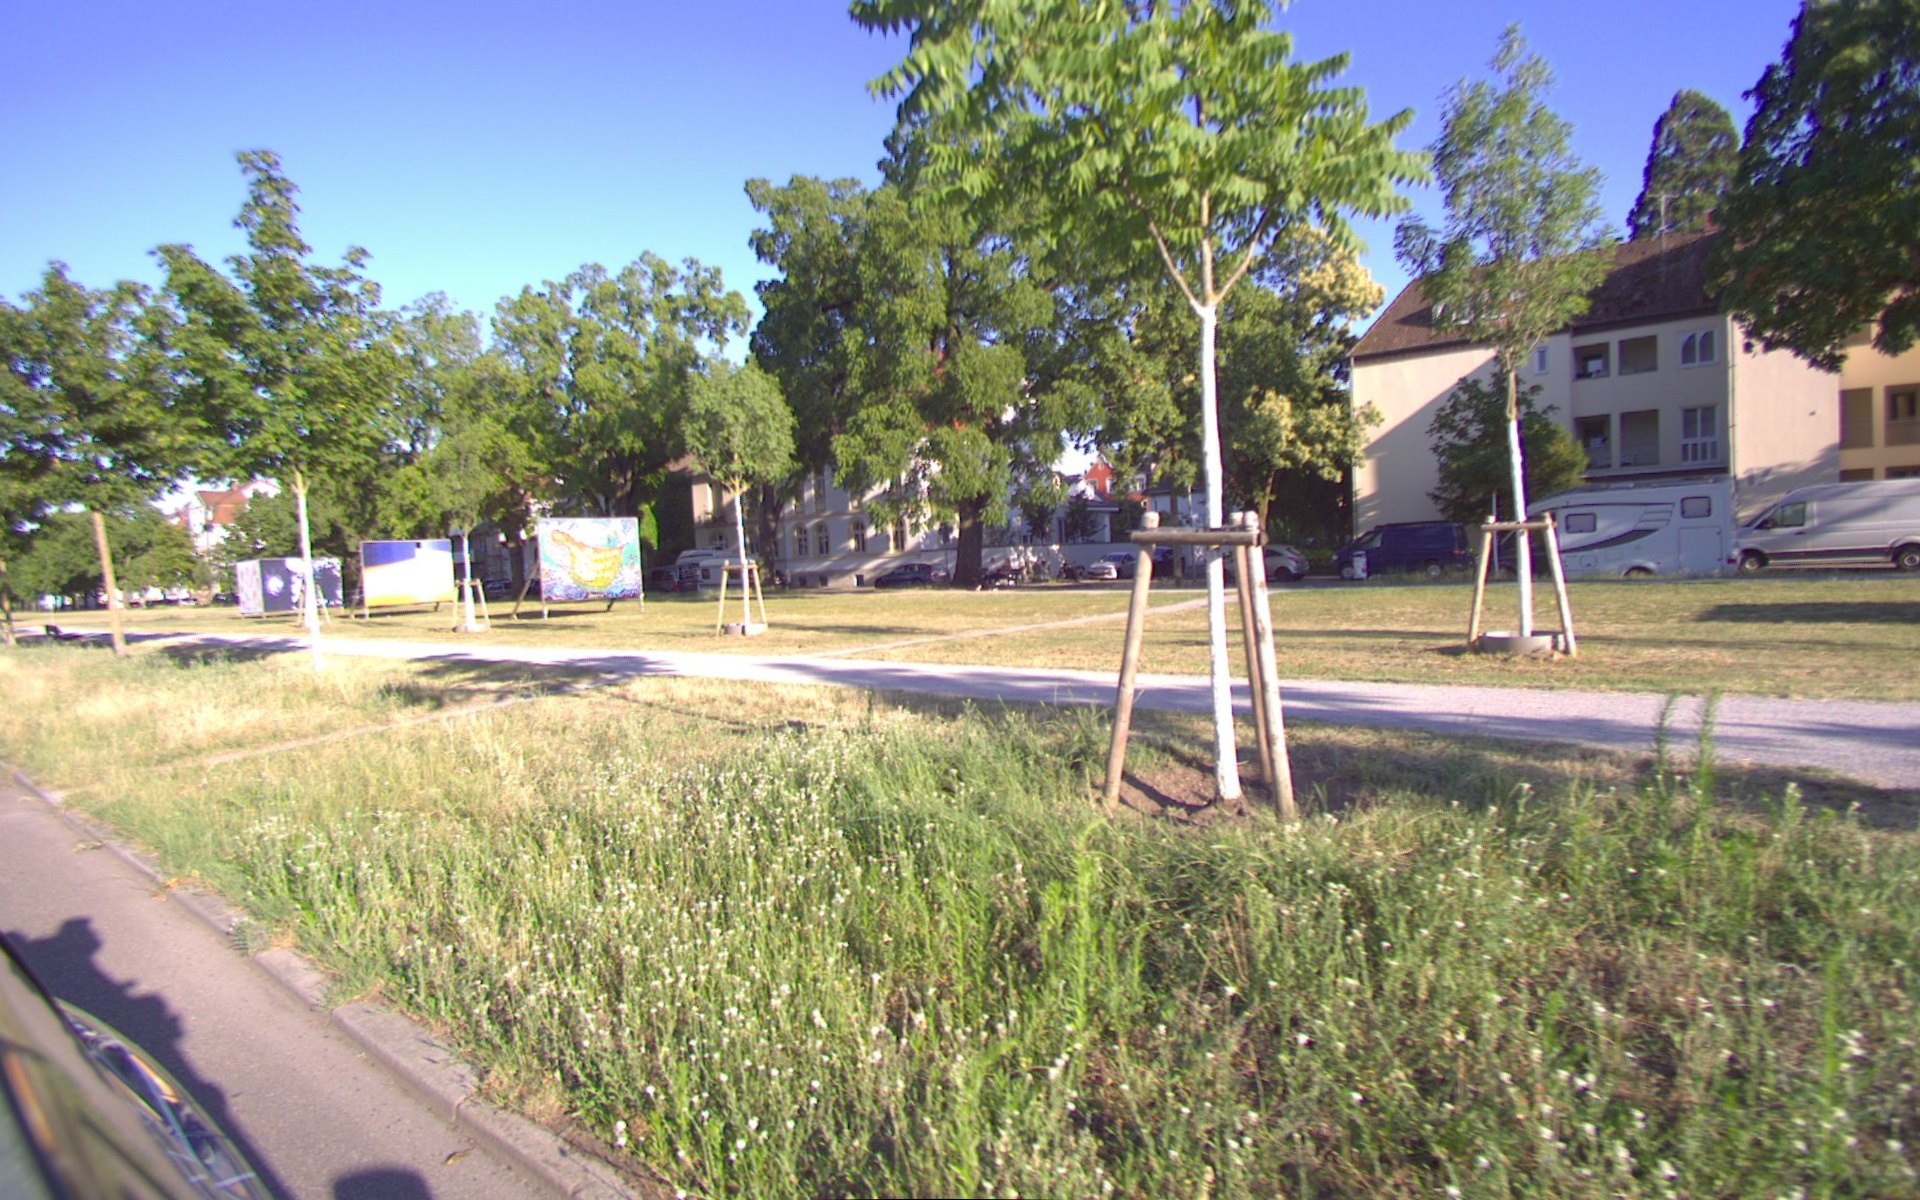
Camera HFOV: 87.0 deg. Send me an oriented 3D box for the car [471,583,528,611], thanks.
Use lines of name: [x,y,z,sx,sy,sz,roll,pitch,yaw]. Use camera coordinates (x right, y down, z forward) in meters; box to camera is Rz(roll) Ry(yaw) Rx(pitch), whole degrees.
car: [-32.958,-0.197,72.346,4.341,1.741,1.974,-2,1,40]

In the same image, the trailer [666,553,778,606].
trailer: [-12.935,-1.050,54.654,6.632,2.679,2.448,0,0,40]

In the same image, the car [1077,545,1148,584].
car: [8.534,-2.005,56.338,1.977,1.914,4.472,-2,2,36]

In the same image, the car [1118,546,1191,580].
car: [11.729,-2.223,60.823,2.070,1.782,5.002,-1,3,40]

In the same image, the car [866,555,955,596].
car: [-2.657,-1.286,53.637,4.712,1.926,1.870,-2,2,42]

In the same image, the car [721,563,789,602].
car: [-12.491,-1.040,61.541,3.999,2.170,1.973,-2,2,42]

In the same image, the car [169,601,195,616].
car: [-102.210,1.088,132.941,3.998,1.715,1.973,-2,1,41]

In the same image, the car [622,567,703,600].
car: [-17.257,-0.925,58.583,4.947,1.654,1.974,-1,4,40]

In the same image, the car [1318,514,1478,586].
car: [16.088,-1.757,37.346,5.115,2.437,1.917,0,0,42]

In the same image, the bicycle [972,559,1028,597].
bicycle: [1.496,-0.808,38.222,2.331,1.352,0.505,-1,2,44]

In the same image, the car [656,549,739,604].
car: [-17.181,-1.489,66.011,6.071,3.273,1.973,-2,1,41]

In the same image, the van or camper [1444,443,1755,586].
van or camper: [17.536,-2.196,28.075,6.902,3.286,2.614,-2,2,42]

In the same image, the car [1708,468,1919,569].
car: [25.655,-2.292,29.495,6.087,2.617,1.973,0,0,41]

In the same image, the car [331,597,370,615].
car: [-54.863,0.505,91.083,3.636,1.418,1.672,-2,1,37]

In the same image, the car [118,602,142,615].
car: [-125.809,1.282,153.398,3.996,2.029,2.099,0,0,40]

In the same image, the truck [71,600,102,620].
truck: [-152.839,1.748,177.131,7.704,3.169,2.751,-1,2,40]

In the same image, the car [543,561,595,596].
car: [-29.810,-1.657,77.074,3.998,2.560,1.973,1,3,41]

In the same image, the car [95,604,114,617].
car: [-140.987,1.706,166.787,4.000,2.028,1.972,-2,1,43]

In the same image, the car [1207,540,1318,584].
car: [12.196,-1.510,40.849,3.806,1.554,1.974,-1,2,39]

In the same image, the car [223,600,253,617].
car: [-82.099,0.955,115.098,3.999,1.858,1.972,0,0,42]

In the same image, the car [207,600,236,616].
car: [-87.241,0.960,119.505,3.999,1.858,1.972,0,0,42]

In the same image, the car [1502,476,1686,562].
car: [17.536,-2.196,28.075,3.999,2.028,1.973,-2,2,42]
